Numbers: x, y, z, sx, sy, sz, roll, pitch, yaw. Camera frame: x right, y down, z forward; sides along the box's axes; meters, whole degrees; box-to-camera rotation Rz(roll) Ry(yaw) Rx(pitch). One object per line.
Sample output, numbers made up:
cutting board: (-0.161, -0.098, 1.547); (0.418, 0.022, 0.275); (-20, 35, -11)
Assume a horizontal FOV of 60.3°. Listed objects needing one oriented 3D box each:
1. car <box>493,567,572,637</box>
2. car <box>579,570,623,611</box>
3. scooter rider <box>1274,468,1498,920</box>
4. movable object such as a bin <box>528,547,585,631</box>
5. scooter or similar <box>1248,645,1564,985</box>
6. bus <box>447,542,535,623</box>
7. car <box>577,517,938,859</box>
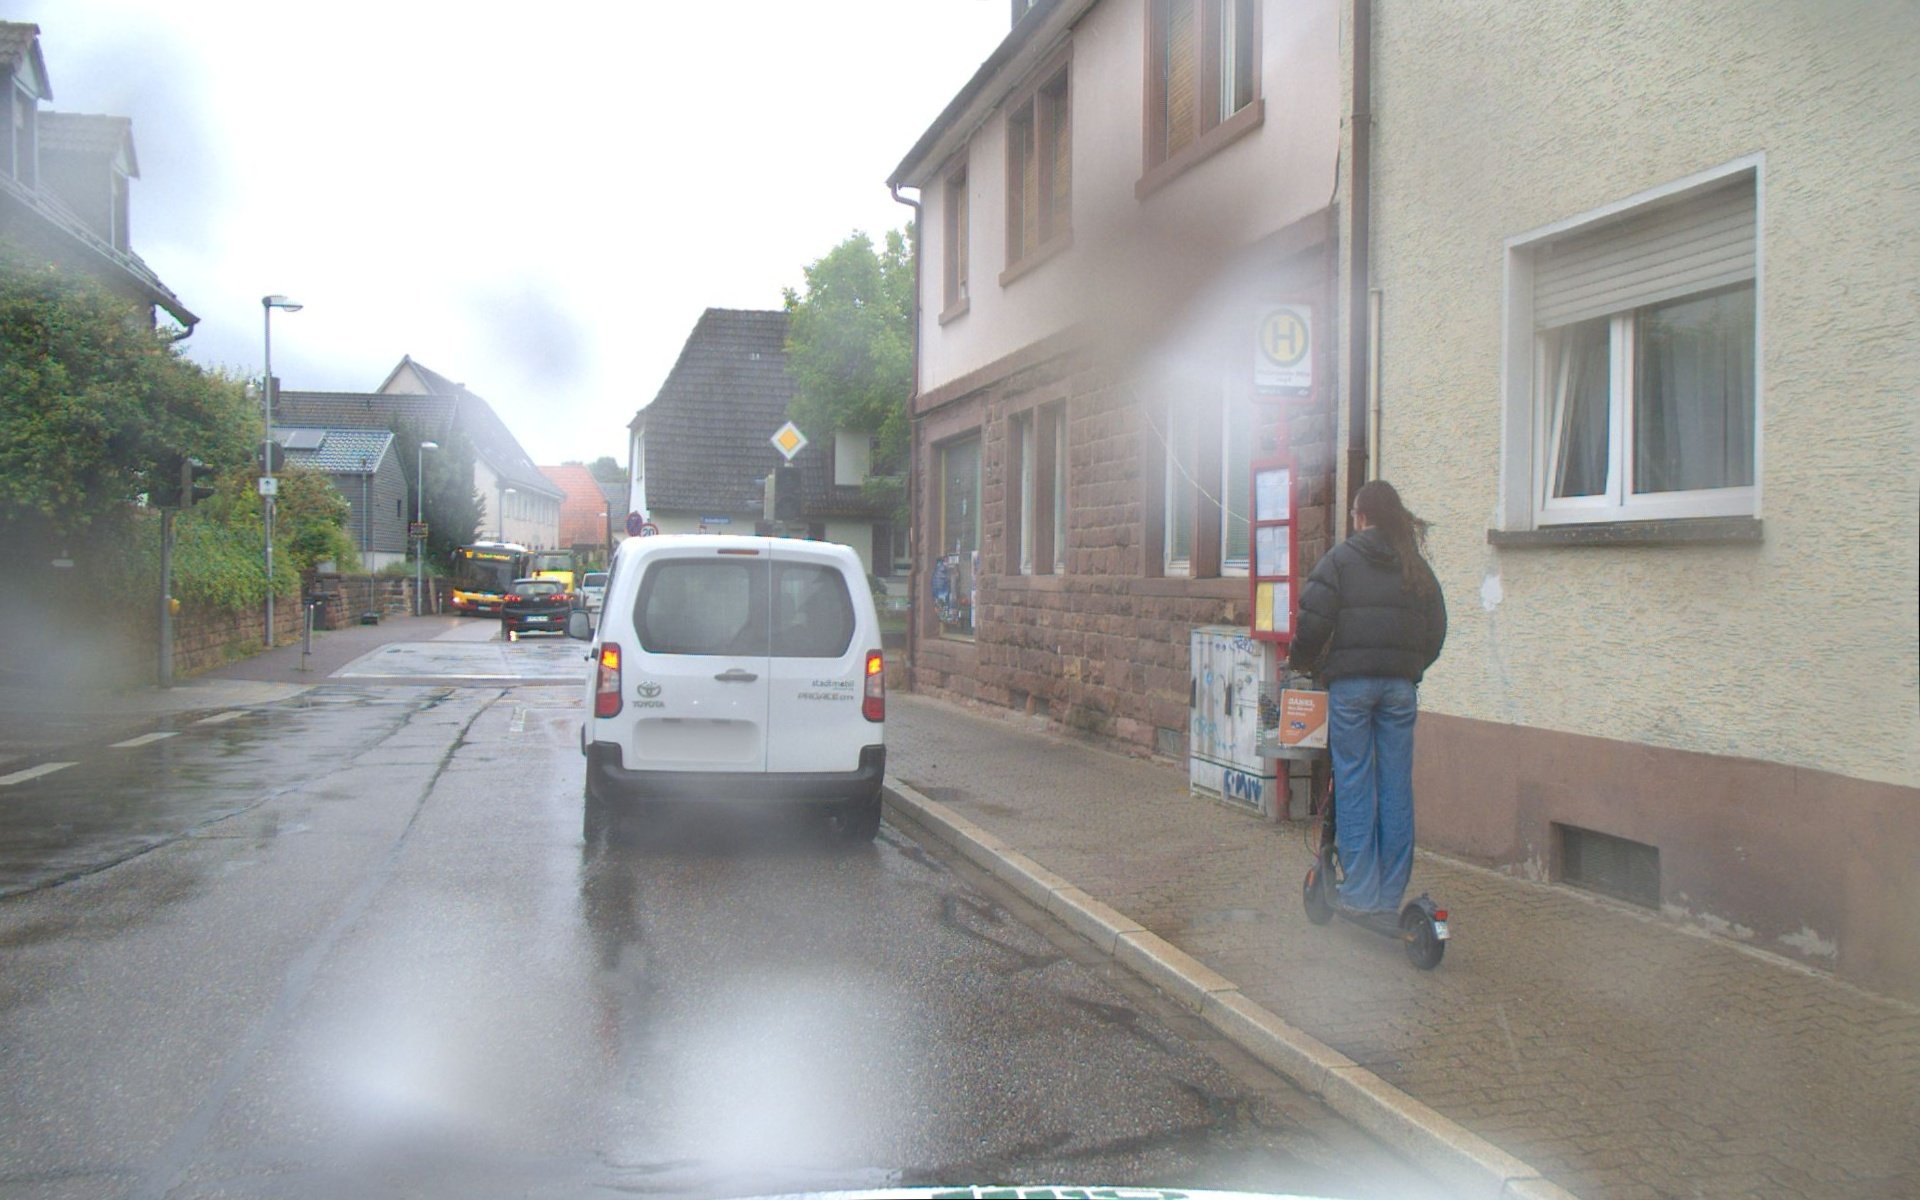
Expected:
car: (-10.721, 0.039, 41.620); (1.779, 1.624, 3.742); (2, 0, -14)
car: (-17.949, -0.468, 82.856); (1.860, 1.982, 3.992); (-1, 0, -8)
scooter rider: (1.740, 0.370, 6.795); (0.718, 1.763, 0.516); (1, -1, -15)
movable object such as a bin: (-13.702, -0.388, 56.352); (1.697, 2.699, 3.961); (2, 0, -13)
scooter or similar: (1.740, 0.792, 6.670); (0.610, 1.146, 1.397); (1, 1, -14)
bus: (-19.825, -0.889, 70.523); (2.603, 3.051, 12.160); (1, 2, -12)
car: (-1.510, 0.477, 10.907); (1.862, 1.825, 3.799); (2, 0, -14)
